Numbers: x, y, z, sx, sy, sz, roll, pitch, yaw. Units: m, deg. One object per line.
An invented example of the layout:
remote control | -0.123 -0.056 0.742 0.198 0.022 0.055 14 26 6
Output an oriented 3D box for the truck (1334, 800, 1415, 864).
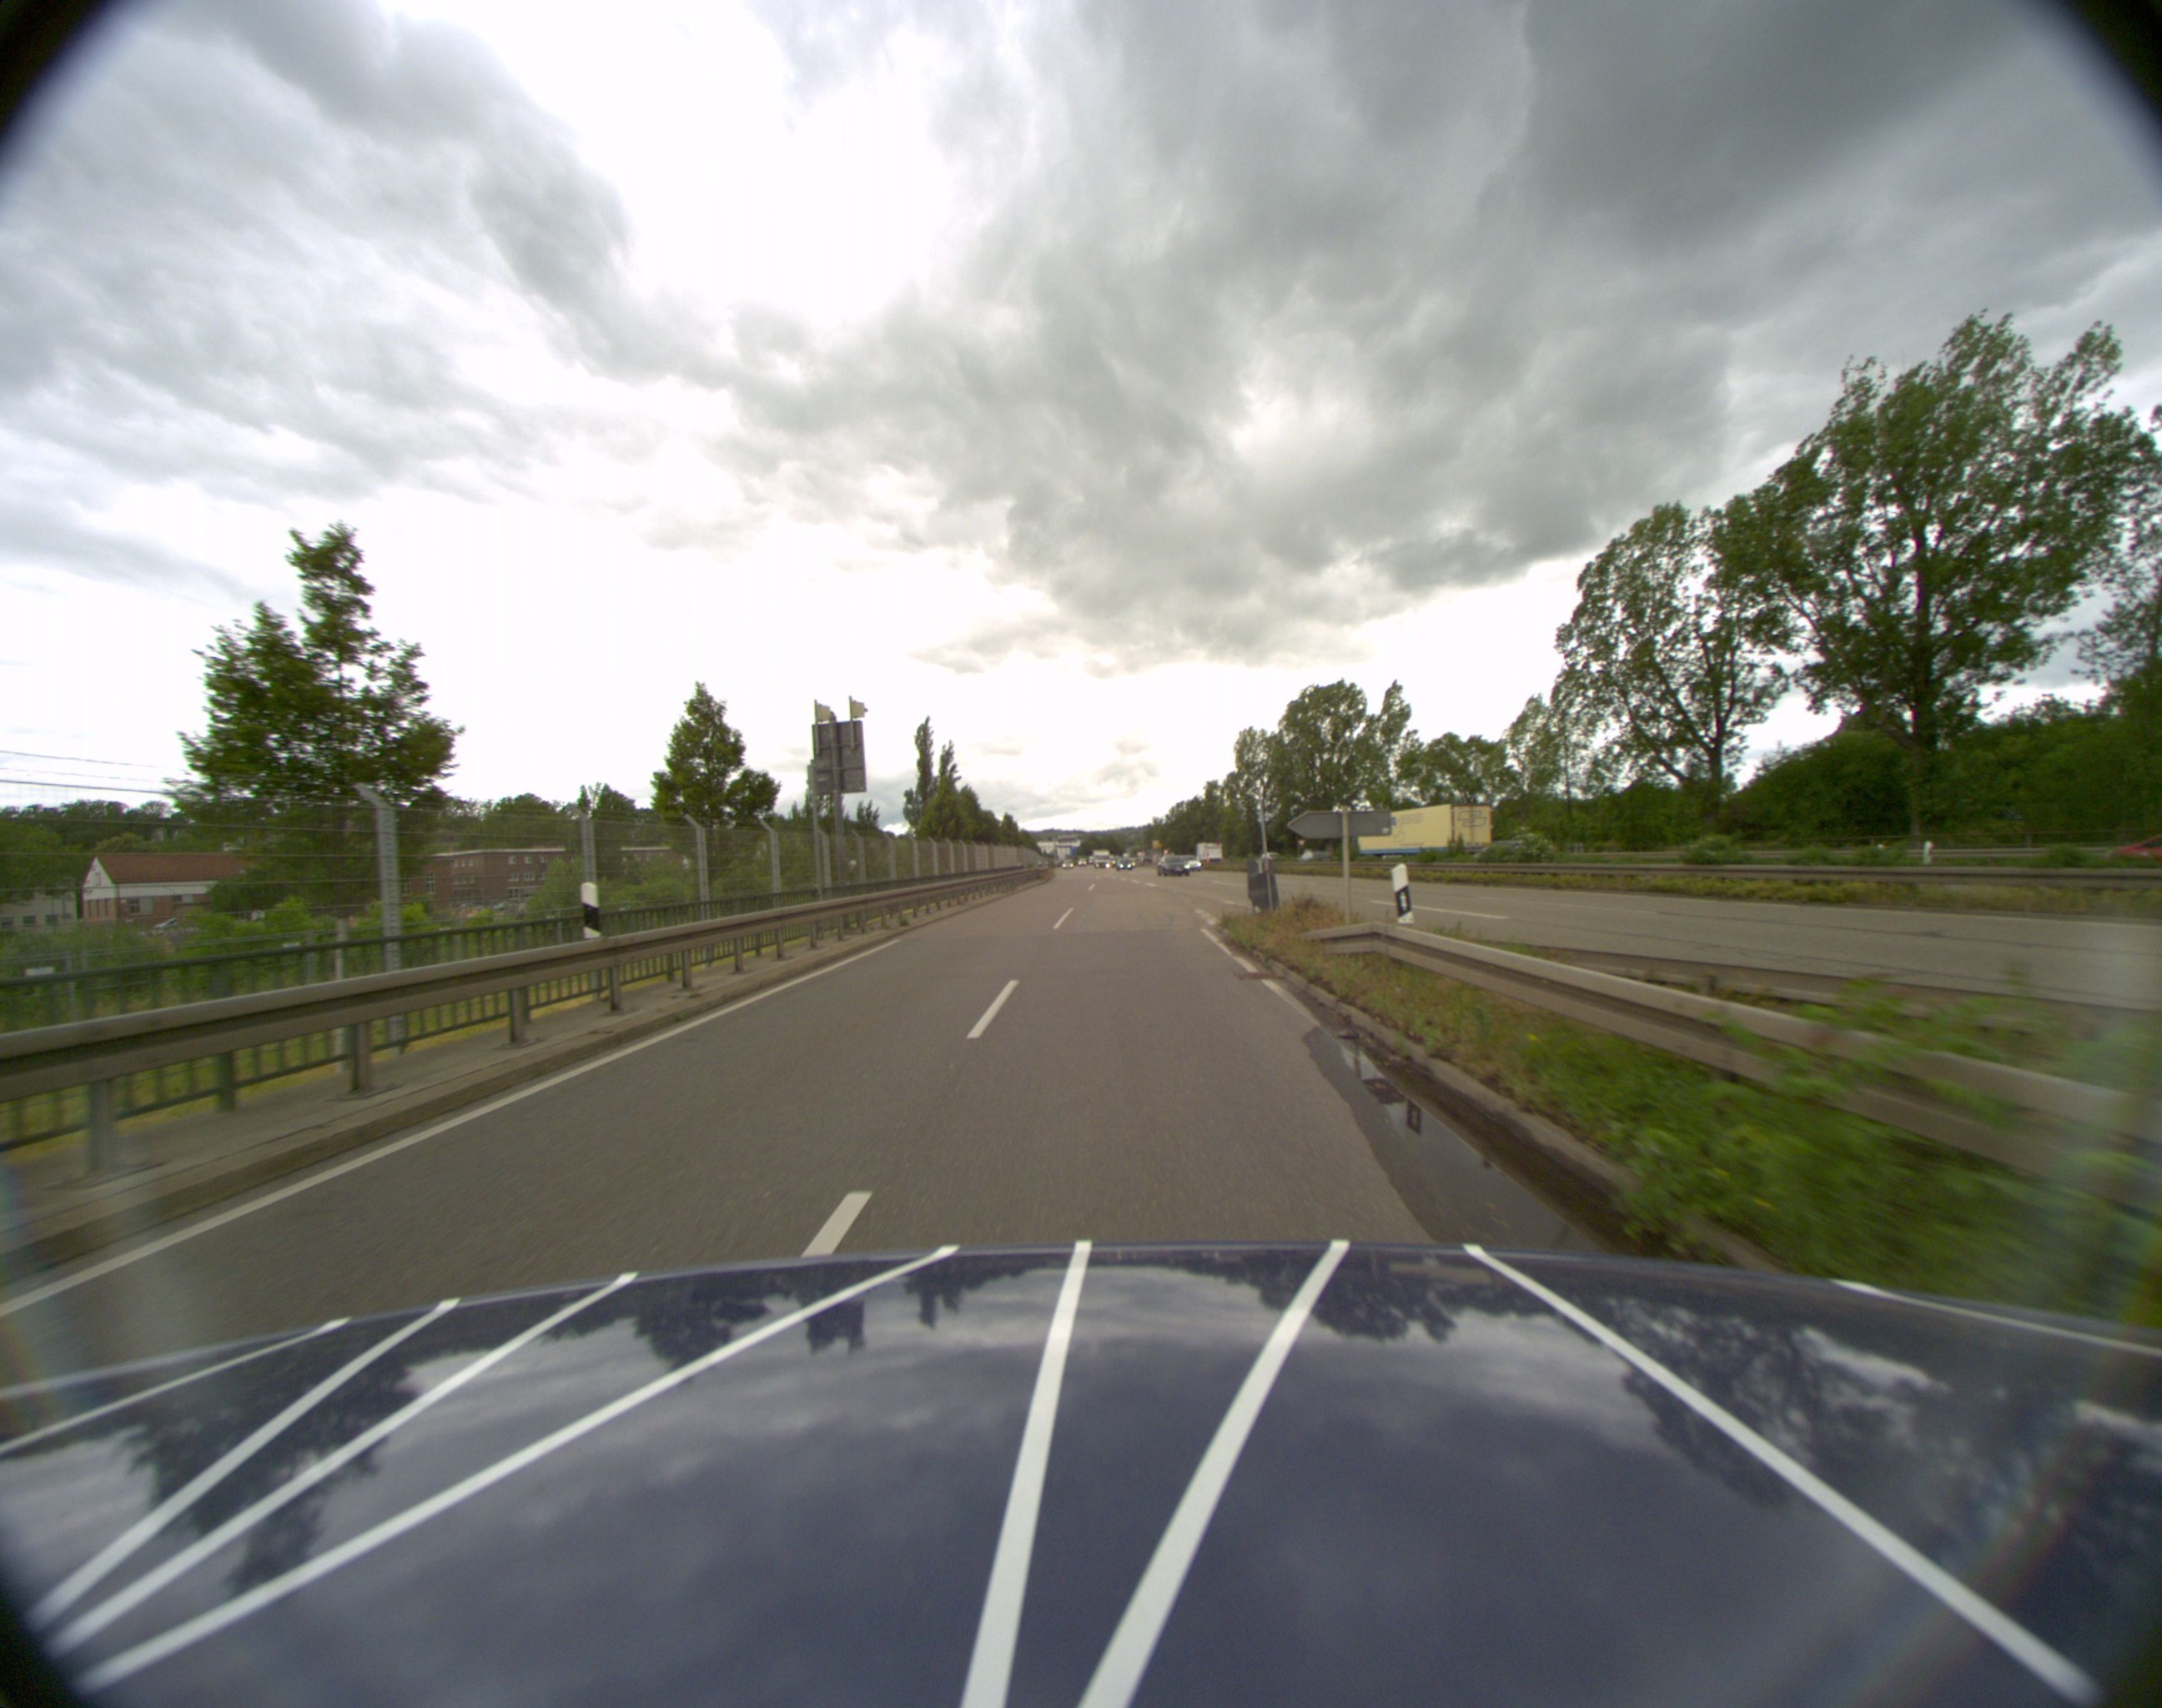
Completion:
truck | 23.115 -1.633 60.307 3.473 4.645 6.209 -3 0 -4

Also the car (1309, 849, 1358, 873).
car | 17.152 0.476 51.792 1.999 1.445 4.000 -2 0 0

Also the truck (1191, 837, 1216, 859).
truck | 21.398 -0.975 132.708 2.993 3.621 3.998 -4 0 -7

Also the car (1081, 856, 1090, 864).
car | 1.069 1.463 191.383 1.999 2.002 4.000 -2 0 -1

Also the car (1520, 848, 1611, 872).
car | 21.659 0.261 34.124 1.656 0.926 3.615 -4 0 -2

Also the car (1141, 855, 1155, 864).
car | 13.616 1.081 154.654 1.851 1.720 5.523 -4 0 -4

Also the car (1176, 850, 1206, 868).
car | 10.078 0.480 69.628 1.859 1.491 3.999 -2 0 -4

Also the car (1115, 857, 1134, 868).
car | 5.219 1.007 90.667 1.729 1.319 3.646 -2 0 -5

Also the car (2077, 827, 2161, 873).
car | 32.980 -0.153 22.662 1.656 1.353 3.614 -2 0 -5

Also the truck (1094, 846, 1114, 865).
truck | 4.045 0.218 134.005 3.040 3.140 7.566 -2 1 -2

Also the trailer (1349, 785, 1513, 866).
trailer | 23.636 -1.672 52.984 3.473 4.645 14.777 -3 0 -4

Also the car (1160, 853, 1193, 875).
car | 6.712 0.710 53.845 1.940 1.492 4.305 -1 -1 2

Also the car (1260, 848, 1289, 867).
car | 19.252 0.344 75.584 1.784 1.796 3.571 -2 0 -3

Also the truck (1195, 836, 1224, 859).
truck | 21.801 -1.024 129.257 2.992 3.622 6.334 -4 0 -7

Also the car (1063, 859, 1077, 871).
car | -1.932 1.982 134.745 1.998 2.002 4.000 -4 0 2
